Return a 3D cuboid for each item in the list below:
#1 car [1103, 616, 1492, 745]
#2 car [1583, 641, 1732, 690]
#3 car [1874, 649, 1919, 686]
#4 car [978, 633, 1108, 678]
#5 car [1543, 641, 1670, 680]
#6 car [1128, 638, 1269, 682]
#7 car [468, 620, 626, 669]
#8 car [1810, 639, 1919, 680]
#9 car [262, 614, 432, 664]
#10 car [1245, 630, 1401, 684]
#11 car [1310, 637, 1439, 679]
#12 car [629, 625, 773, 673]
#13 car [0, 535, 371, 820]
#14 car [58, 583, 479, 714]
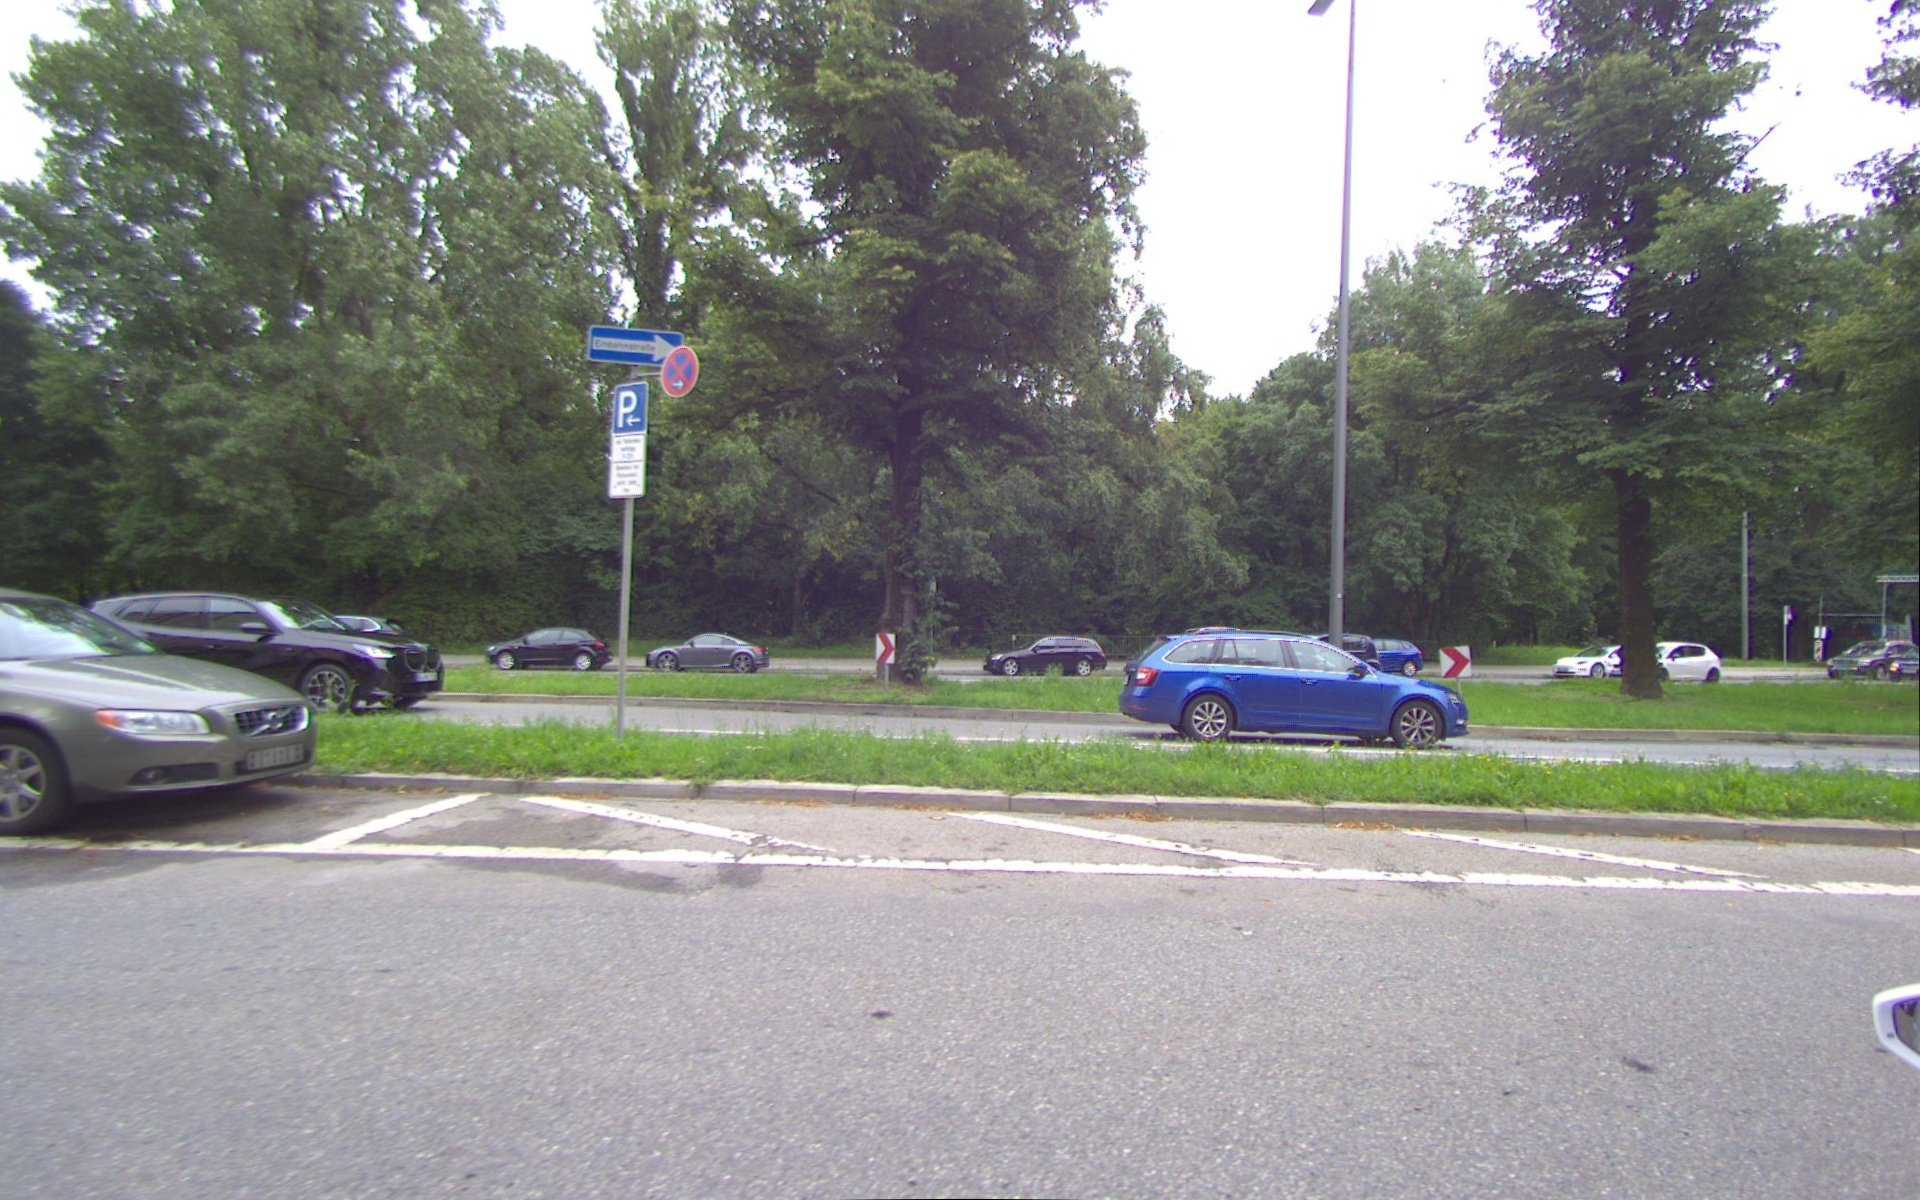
[{"bbox_3d":[4.406,1.047,13.722,4.640,1.473,1.994,2,-2,2],"label":"car"},{"bbox_3d":[23.071,2.155,33.244,4.166,1.465,1.828,2,-3,-15],"label":"car"},{"bbox_3d":[41.445,2.892,42.779,3.965,1.465,1.892,2,-2,-14],"label":"car"},{"bbox_3d":[2.975,2.002,36.289,4.244,1.465,1.995,2,-3,-13],"label":"car"},{"bbox_3d":[26.600,2.499,41.381,4.349,1.465,1.995,2,-3,-14],"label":"car"},{"bbox_3d":[8.809,2.226,37.253,4.687,1.465,1.995,2,-3,-13],"label":"car"},{"bbox_3d":[-13.756,1.493,33.695,4.441,1.465,1.998,2,-3,-7],"label":"car"},{"bbox_3d":[41.830,2.715,46.160,4.570,1.740,1.995,2,-3,-14],"label":"car"},{"bbox_3d":[-19.923,1.289,32.825,4.238,1.465,1.998,2,-3,-7],"label":"car"},{"bbox_3d":[10.692,1.670,29.662,3.965,1.465,1.892,2,-2,-14],"label":"car"},{"bbox_3d":[16.104,2.251,39.084,4.349,1.465,1.995,2,-3,-14],"label":"car"},{"bbox_3d":[-8.688,1.661,34.036,4.441,1.465,1.998,2,-3,-7],"label":"car"},{"bbox_3d":[-6.866,0.409,6.740,4.675,1.585,1.906,2,-2,2],"label":"car"},{"bbox_3d":[-9.790,0.682,14.493,4.733,1.607,1.920,2,-2,2],"label":"car"}]
